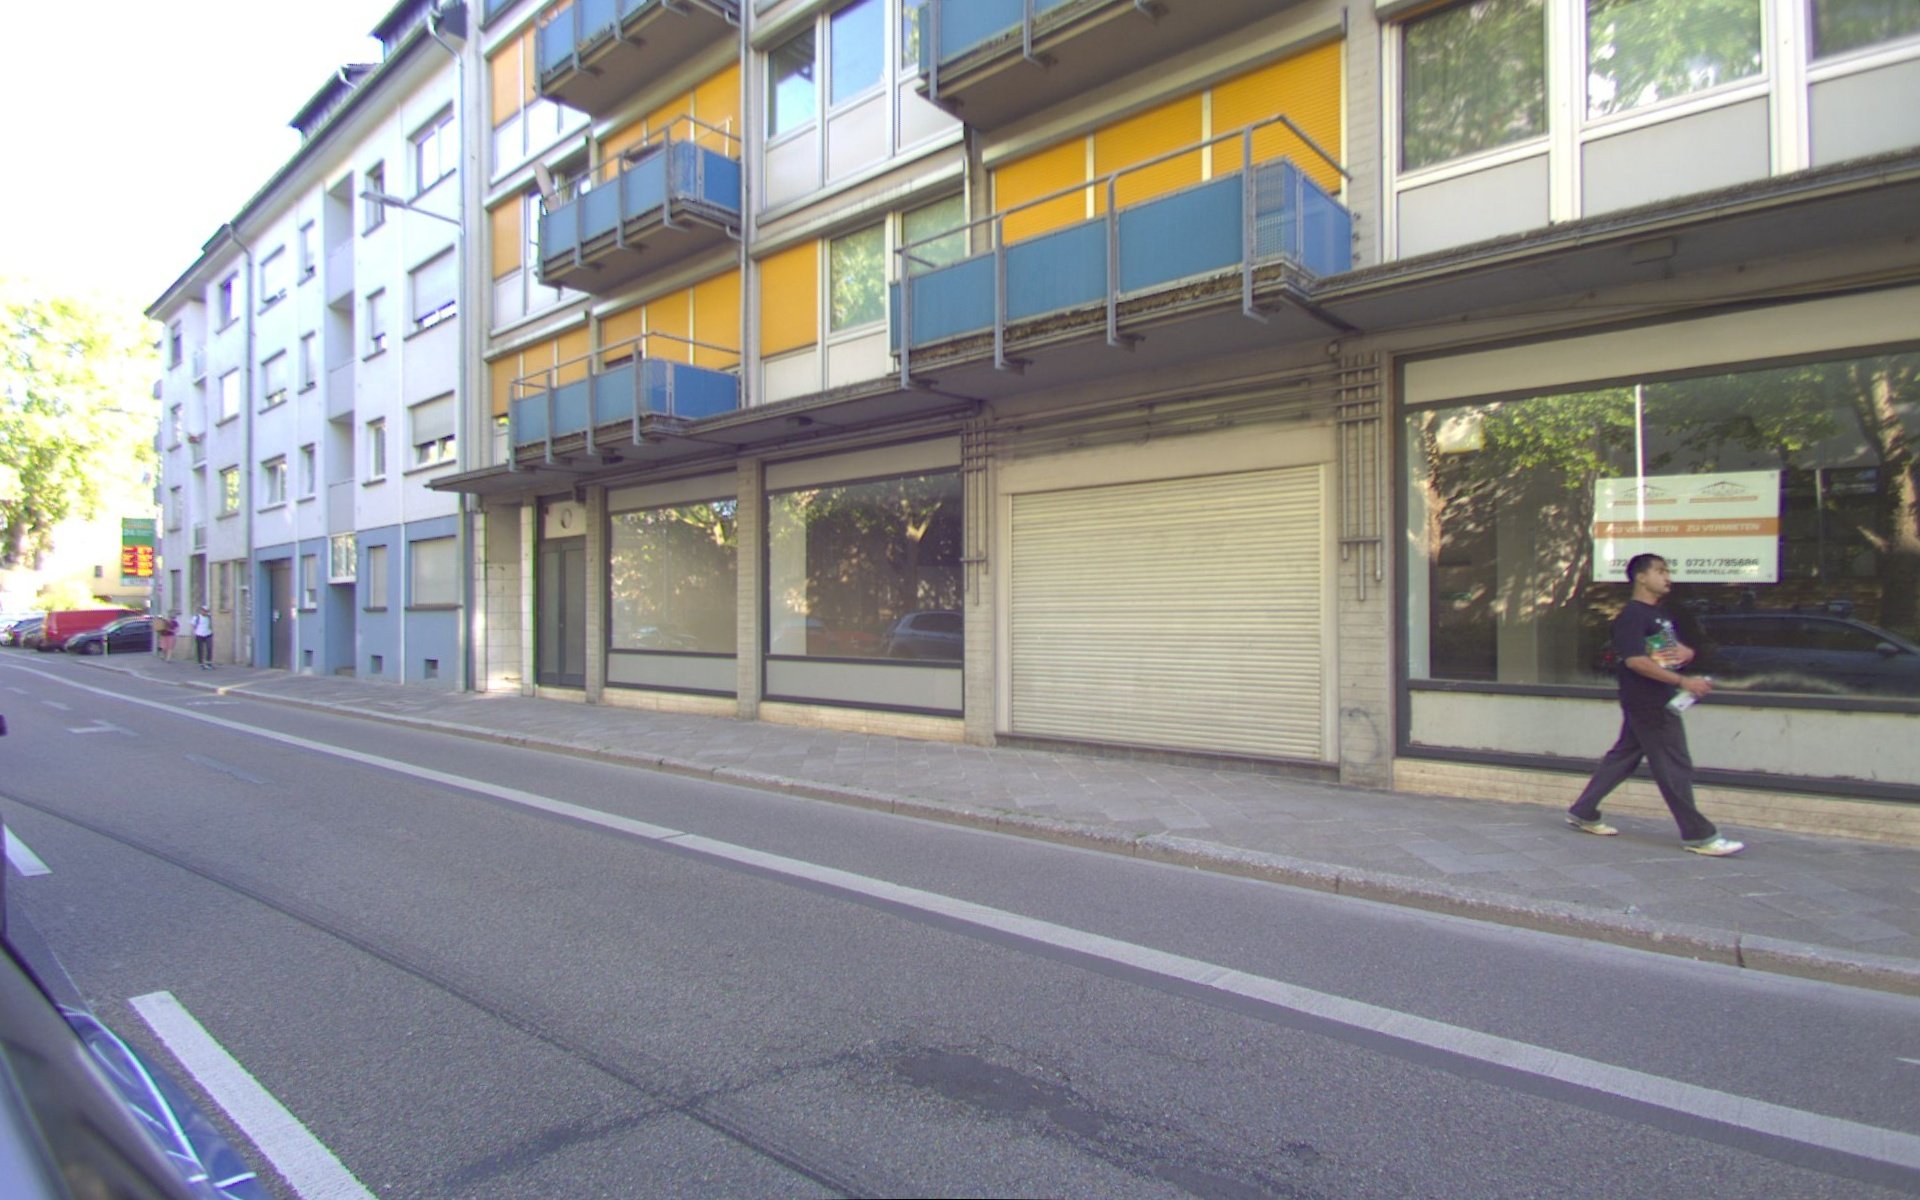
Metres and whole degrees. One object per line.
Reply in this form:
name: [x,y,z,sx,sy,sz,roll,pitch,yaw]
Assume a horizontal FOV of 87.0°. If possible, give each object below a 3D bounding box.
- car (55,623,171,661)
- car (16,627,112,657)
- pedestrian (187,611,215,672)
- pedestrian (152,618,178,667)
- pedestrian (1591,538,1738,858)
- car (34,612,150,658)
car: [-36.657,1.777,43.872,1.635,1.422,3.623,-1,0,41]
car: [-42.993,2.008,48.593,1.294,1.258,3.283,-1,0,41]
pedestrian: [-21.966,1.195,29.292,0.343,1.739,0.562,-2,0,41]
pedestrian: [-25.343,1.342,32.263,0.343,1.529,0.562,-2,0,41]
pedestrian: [4.145,0.542,5.960,0.621,1.754,0.528,0,-1,-39]
car: [-40.585,1.591,47.385,1.635,1.937,3.878,-1,0,41]
